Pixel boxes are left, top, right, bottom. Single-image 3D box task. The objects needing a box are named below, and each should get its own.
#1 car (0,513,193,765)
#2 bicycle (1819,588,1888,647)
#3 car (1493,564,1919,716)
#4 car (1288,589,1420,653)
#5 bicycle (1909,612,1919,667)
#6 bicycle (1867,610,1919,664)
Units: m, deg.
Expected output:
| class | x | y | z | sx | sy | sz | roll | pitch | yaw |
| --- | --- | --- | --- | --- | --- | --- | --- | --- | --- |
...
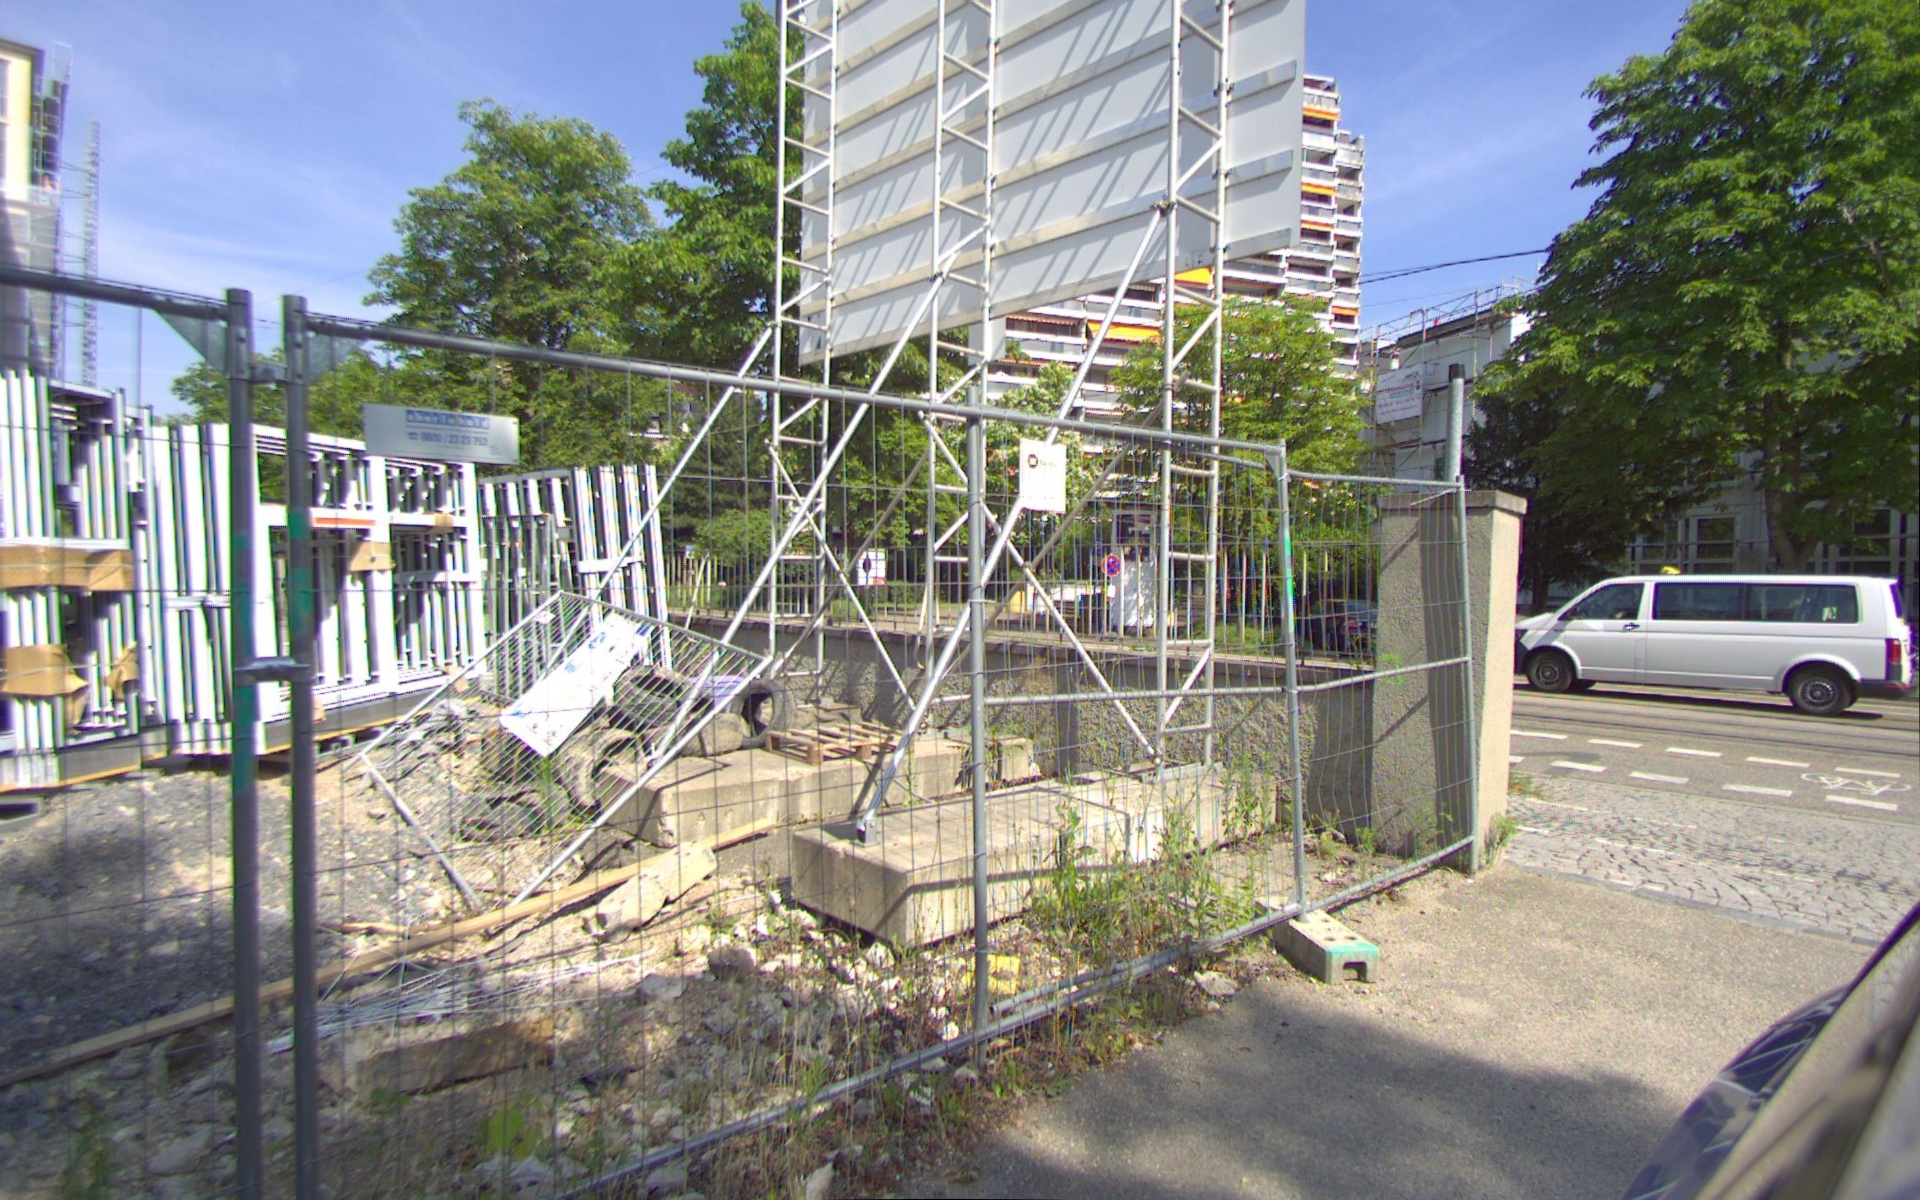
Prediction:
| class | x | y | z | sx | sy | sz | roll | pitch | yaw |
| --- | --- | --- | --- | --- | --- | --- | --- | --- | --- |
| car | -7.854 | 0.287 | 6.808 | 1.888 | 1.803 | 4.306 | 0 | 1 | 6 |
| bicycle | 21.740 | 0.426 | 24.615 | 1.975 | 1.395 | 0.490 | 1 | 0 | -25 |
| car | 11.509 | 0.468 | 15.829 | 1.963 | 1.970 | 5.238 | 1 | 1 | -43 |
| car | 10.146 | 0.491 | 26.391 | 1.808 | 1.427 | 4.148 | 0 | 2 | 0 |
| bicycle | 22.486 | 0.906 | 23.093 | 1.975 | 1.215 | 0.490 | 1 | 0 | -25 |
| bicycle | 22.128 | 0.863 | 23.753 | 1.975 | 1.215 | 0.490 | 1 | 0 | -25 |
